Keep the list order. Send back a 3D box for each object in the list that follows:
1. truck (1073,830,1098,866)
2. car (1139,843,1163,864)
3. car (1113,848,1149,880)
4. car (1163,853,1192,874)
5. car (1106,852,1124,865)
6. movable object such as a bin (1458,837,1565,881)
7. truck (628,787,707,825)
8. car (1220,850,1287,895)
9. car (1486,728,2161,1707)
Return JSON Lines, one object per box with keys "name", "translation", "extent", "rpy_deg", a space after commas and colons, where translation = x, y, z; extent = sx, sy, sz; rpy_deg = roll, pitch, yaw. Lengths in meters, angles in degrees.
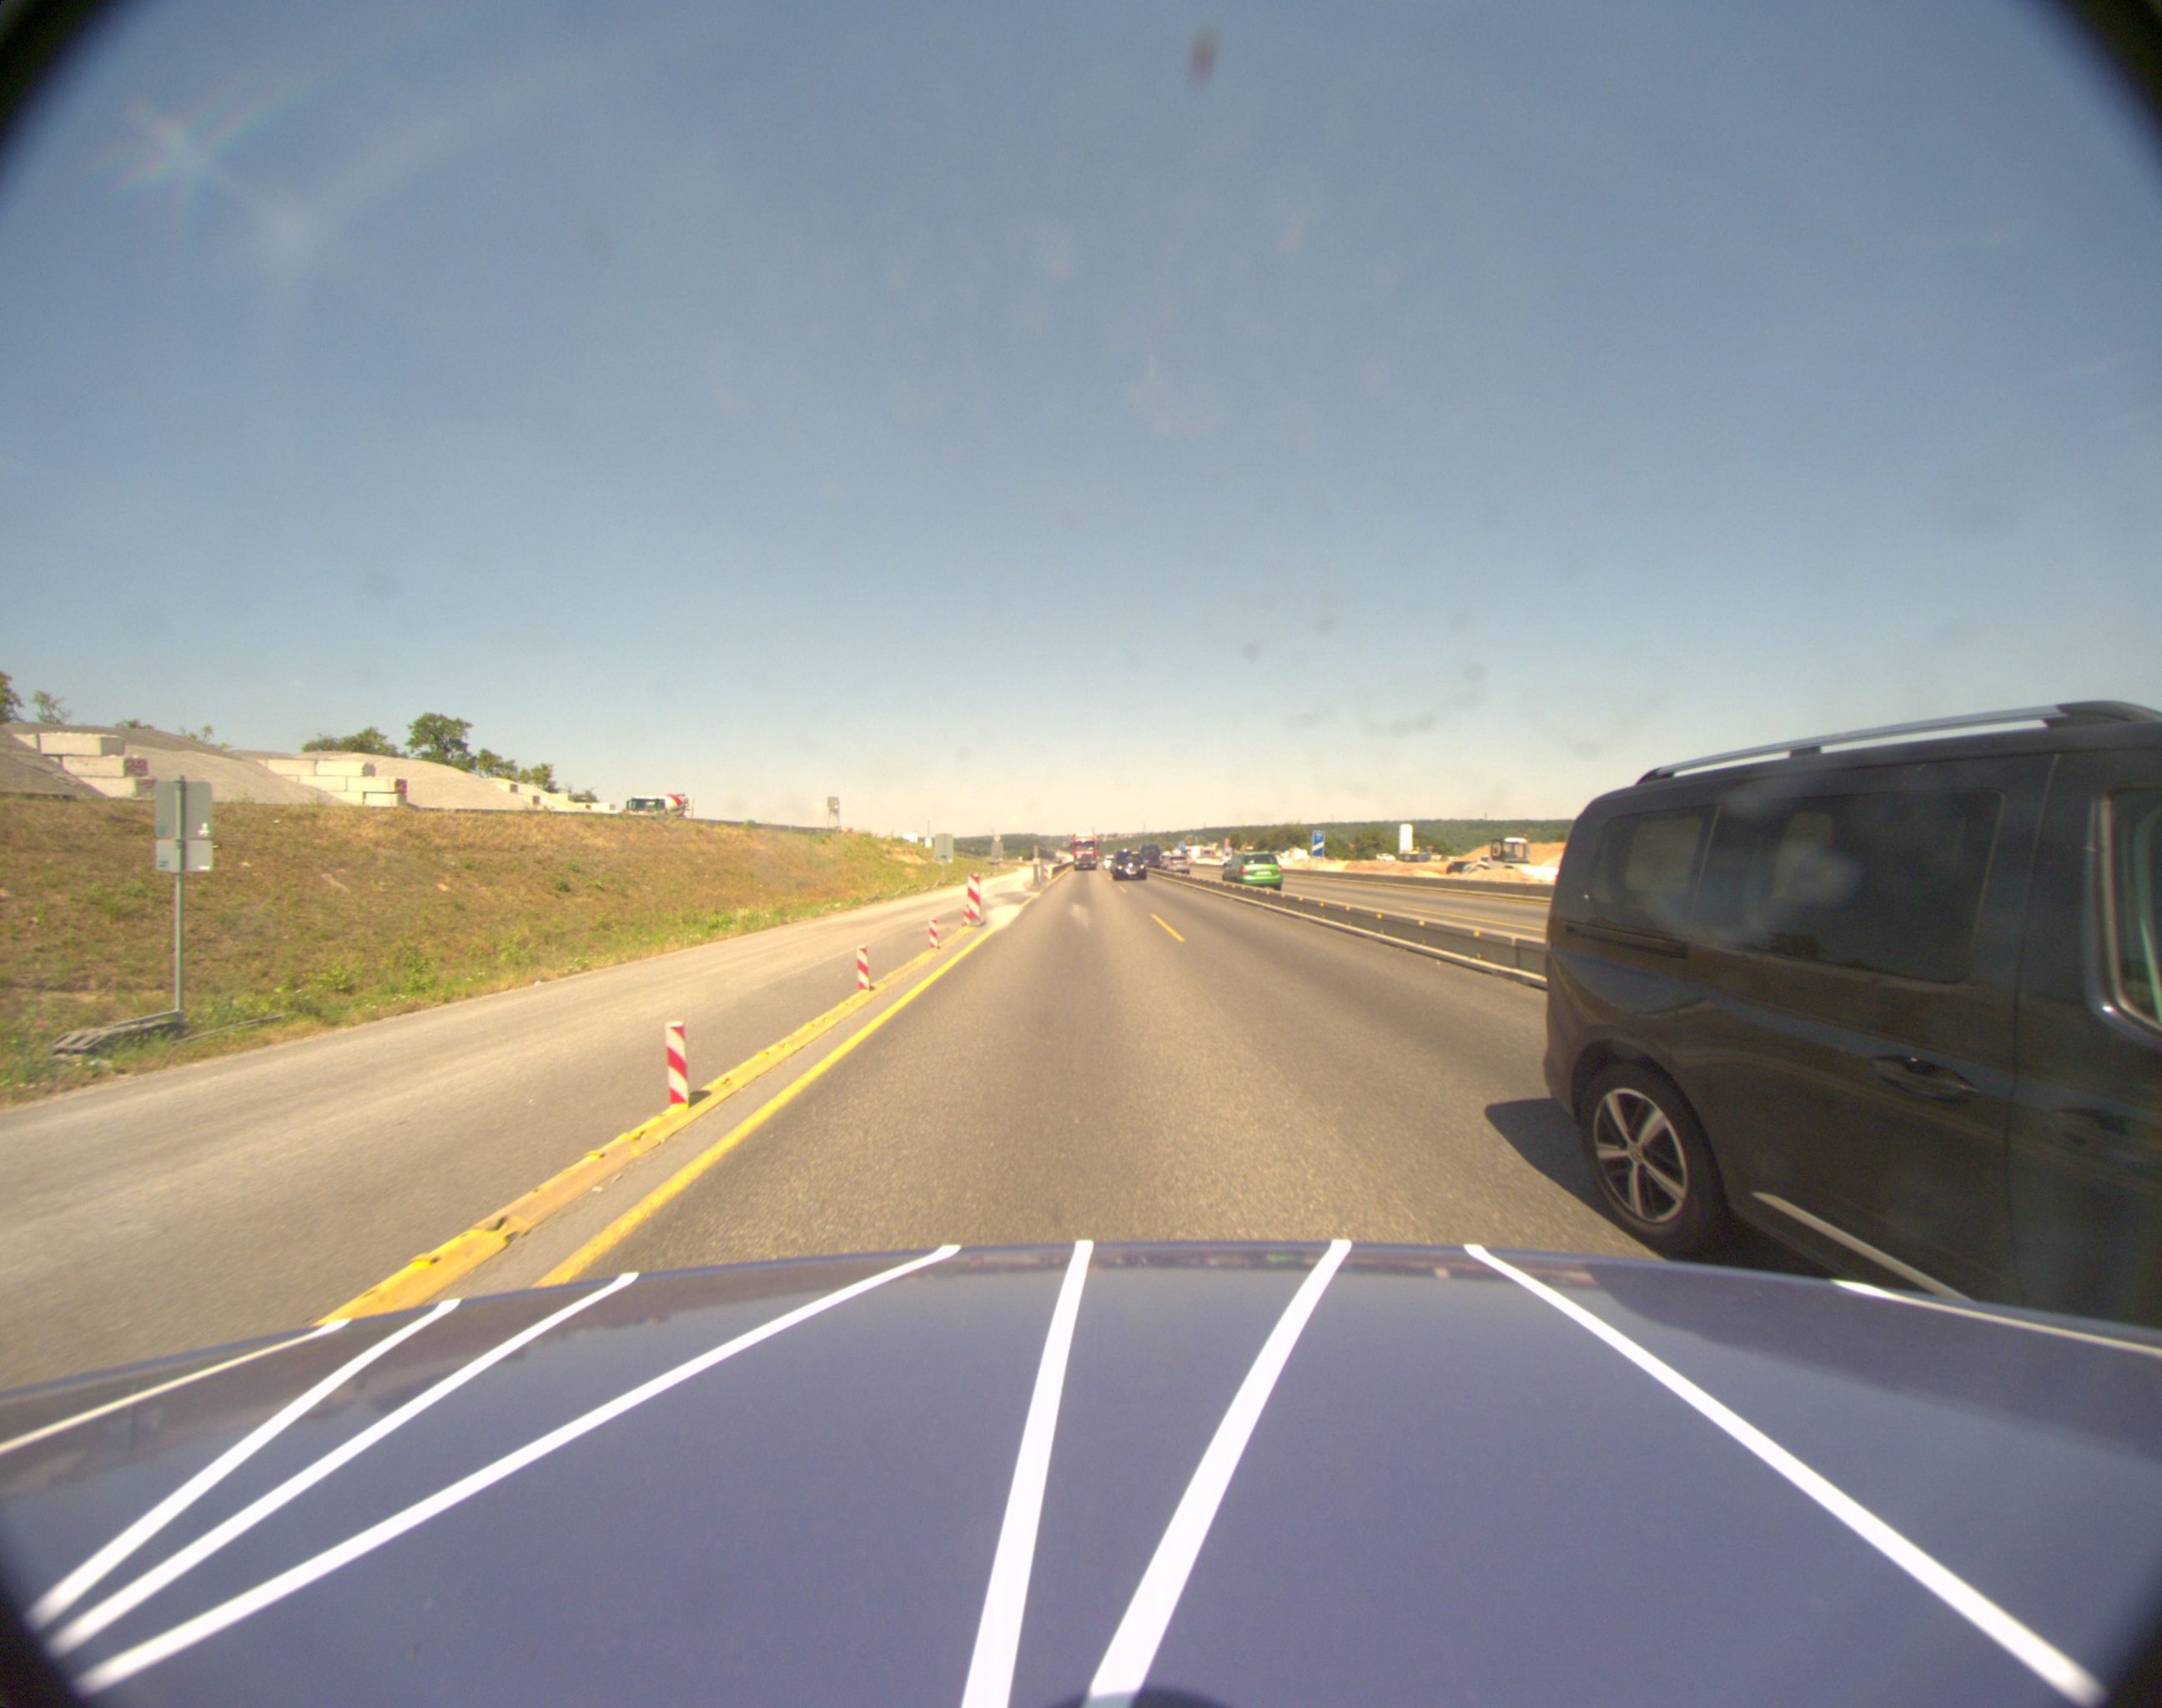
{"name": "truck", "translation": [0.584, -0.687, 85.902], "extent": [2.537, 3.798, 9.481], "rpy_deg": [-2, 1, 1]}
{"name": "car", "translation": [6.899, -0.062, 74.979], "extent": [1.998, 2.002, 3.999], "rpy_deg": [-2, 1, 1]}
{"name": "car", "translation": [3.042, 0.564, 47.434], "extent": [1.879, 1.840, 5.478], "rpy_deg": [-2, 1, 1]}
{"name": "car", "translation": [6.924, 0.664, 54.833], "extent": [1.707, 1.393, 3.406], "rpy_deg": [-2, 0, 1]}
{"name": "car", "translation": [3.834, 0.495, 85.010], "extent": [1.875, 1.390, 4.030], "rpy_deg": [-2, 1, 1]}
{"name": "movable object such as a bin", "translation": [23.155, 0.207, 41.215], "extent": [2.321, 2.122, 6.143], "rpy_deg": [-2, 1, 1]}
{"name": "truck", "translation": [-36.493, -4.176, 67.481], "extent": [2.223, 2.803, 9.061], "rpy_deg": [-2, 1, -3]}
{"name": "car", "translation": [6.387, 0.649, 28.434], "extent": [1.697, 1.517, 3.406], "rpy_deg": [-2, 0, 1]}
{"name": "car", "translation": [2.826, 0.649, 1.261], "extent": [1.756, 1.813, 4.783], "rpy_deg": [-2, 0, 1]}
